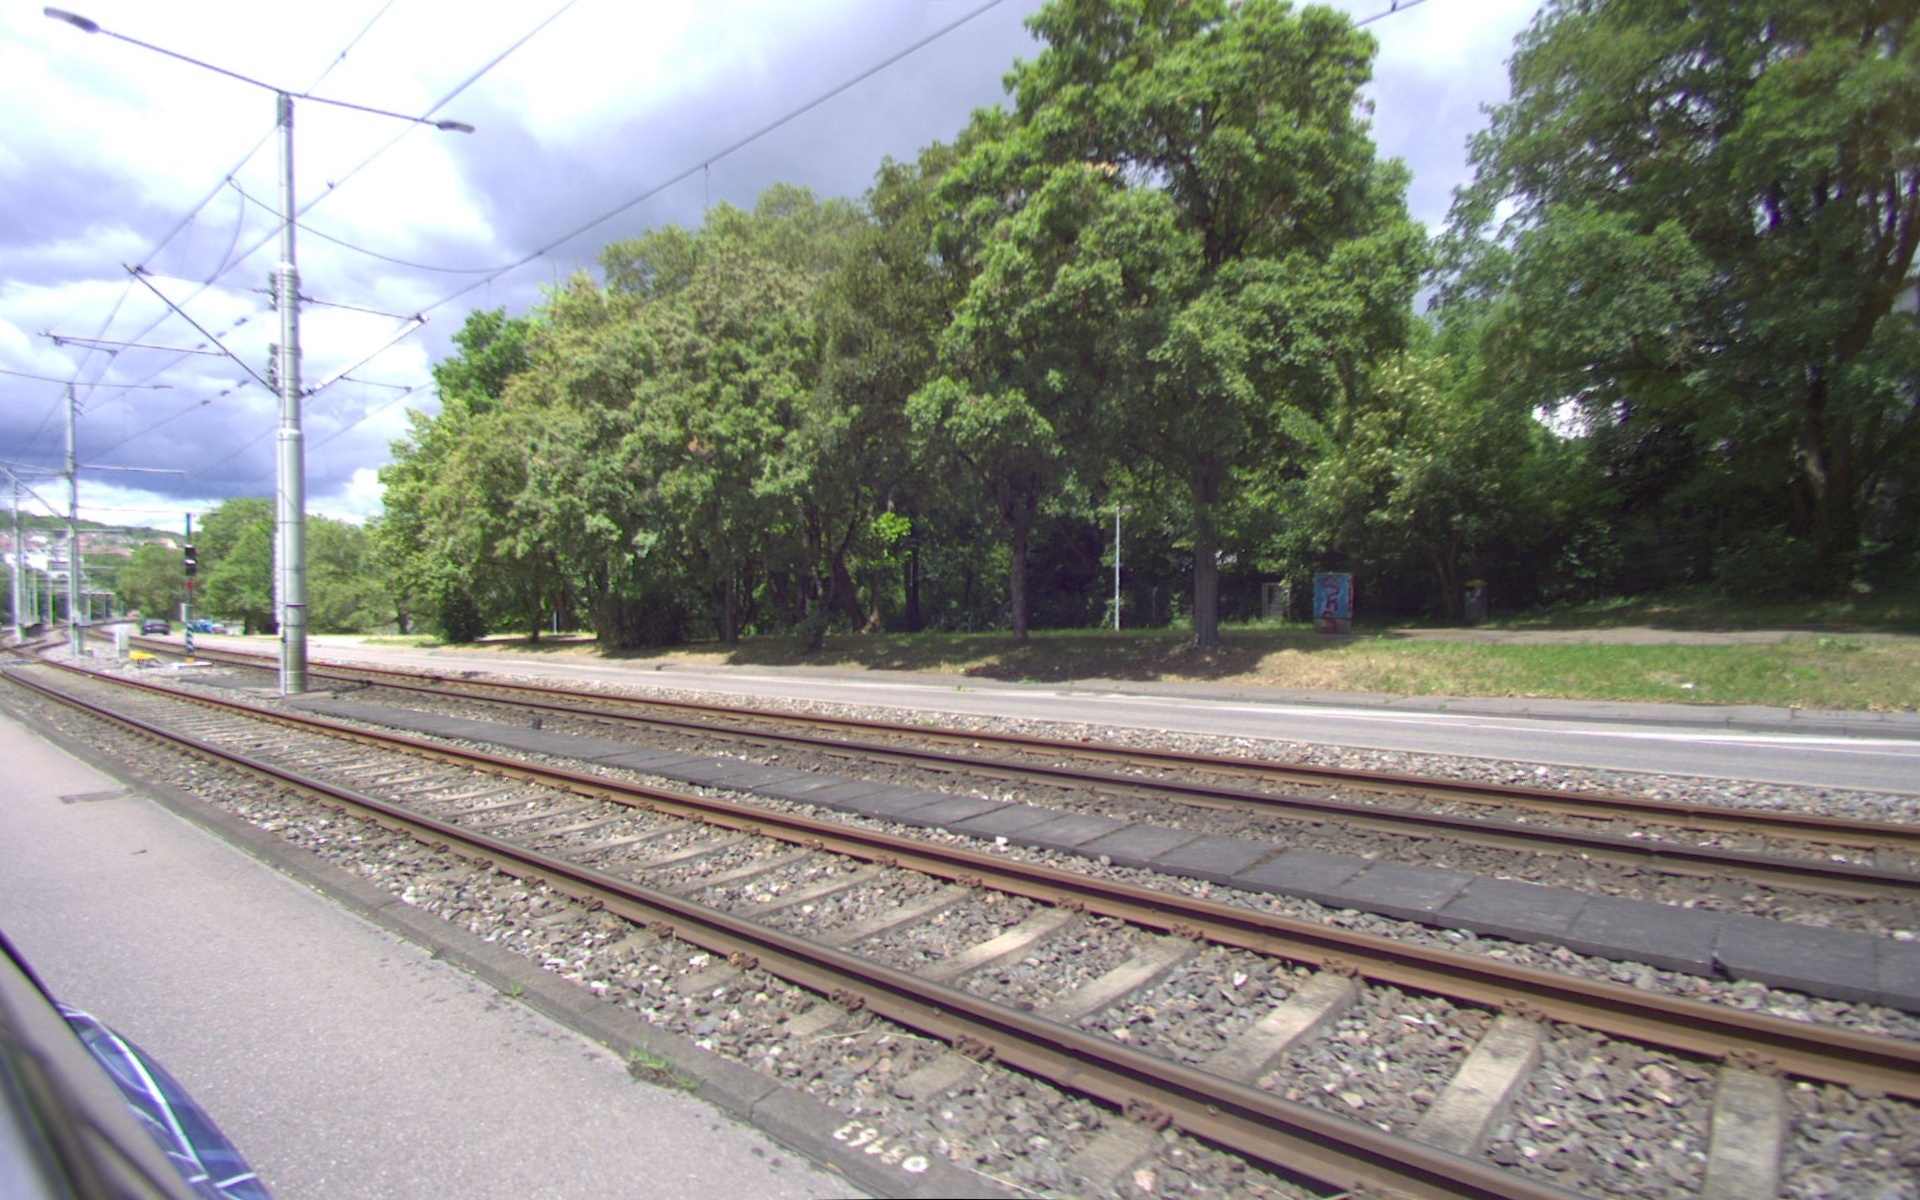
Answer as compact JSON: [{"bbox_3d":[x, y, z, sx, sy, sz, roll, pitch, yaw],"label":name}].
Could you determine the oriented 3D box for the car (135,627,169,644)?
[{"bbox_3d":[-71.967,3.158,90.126,1.814,1.402,4.864,2,-3,-45],"label":"car"}]

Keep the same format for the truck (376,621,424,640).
[{"bbox_3d":[-92.108,5.021,166.514,6.518,2.877,2.684,3,-3,-39],"label":"truck"}]
